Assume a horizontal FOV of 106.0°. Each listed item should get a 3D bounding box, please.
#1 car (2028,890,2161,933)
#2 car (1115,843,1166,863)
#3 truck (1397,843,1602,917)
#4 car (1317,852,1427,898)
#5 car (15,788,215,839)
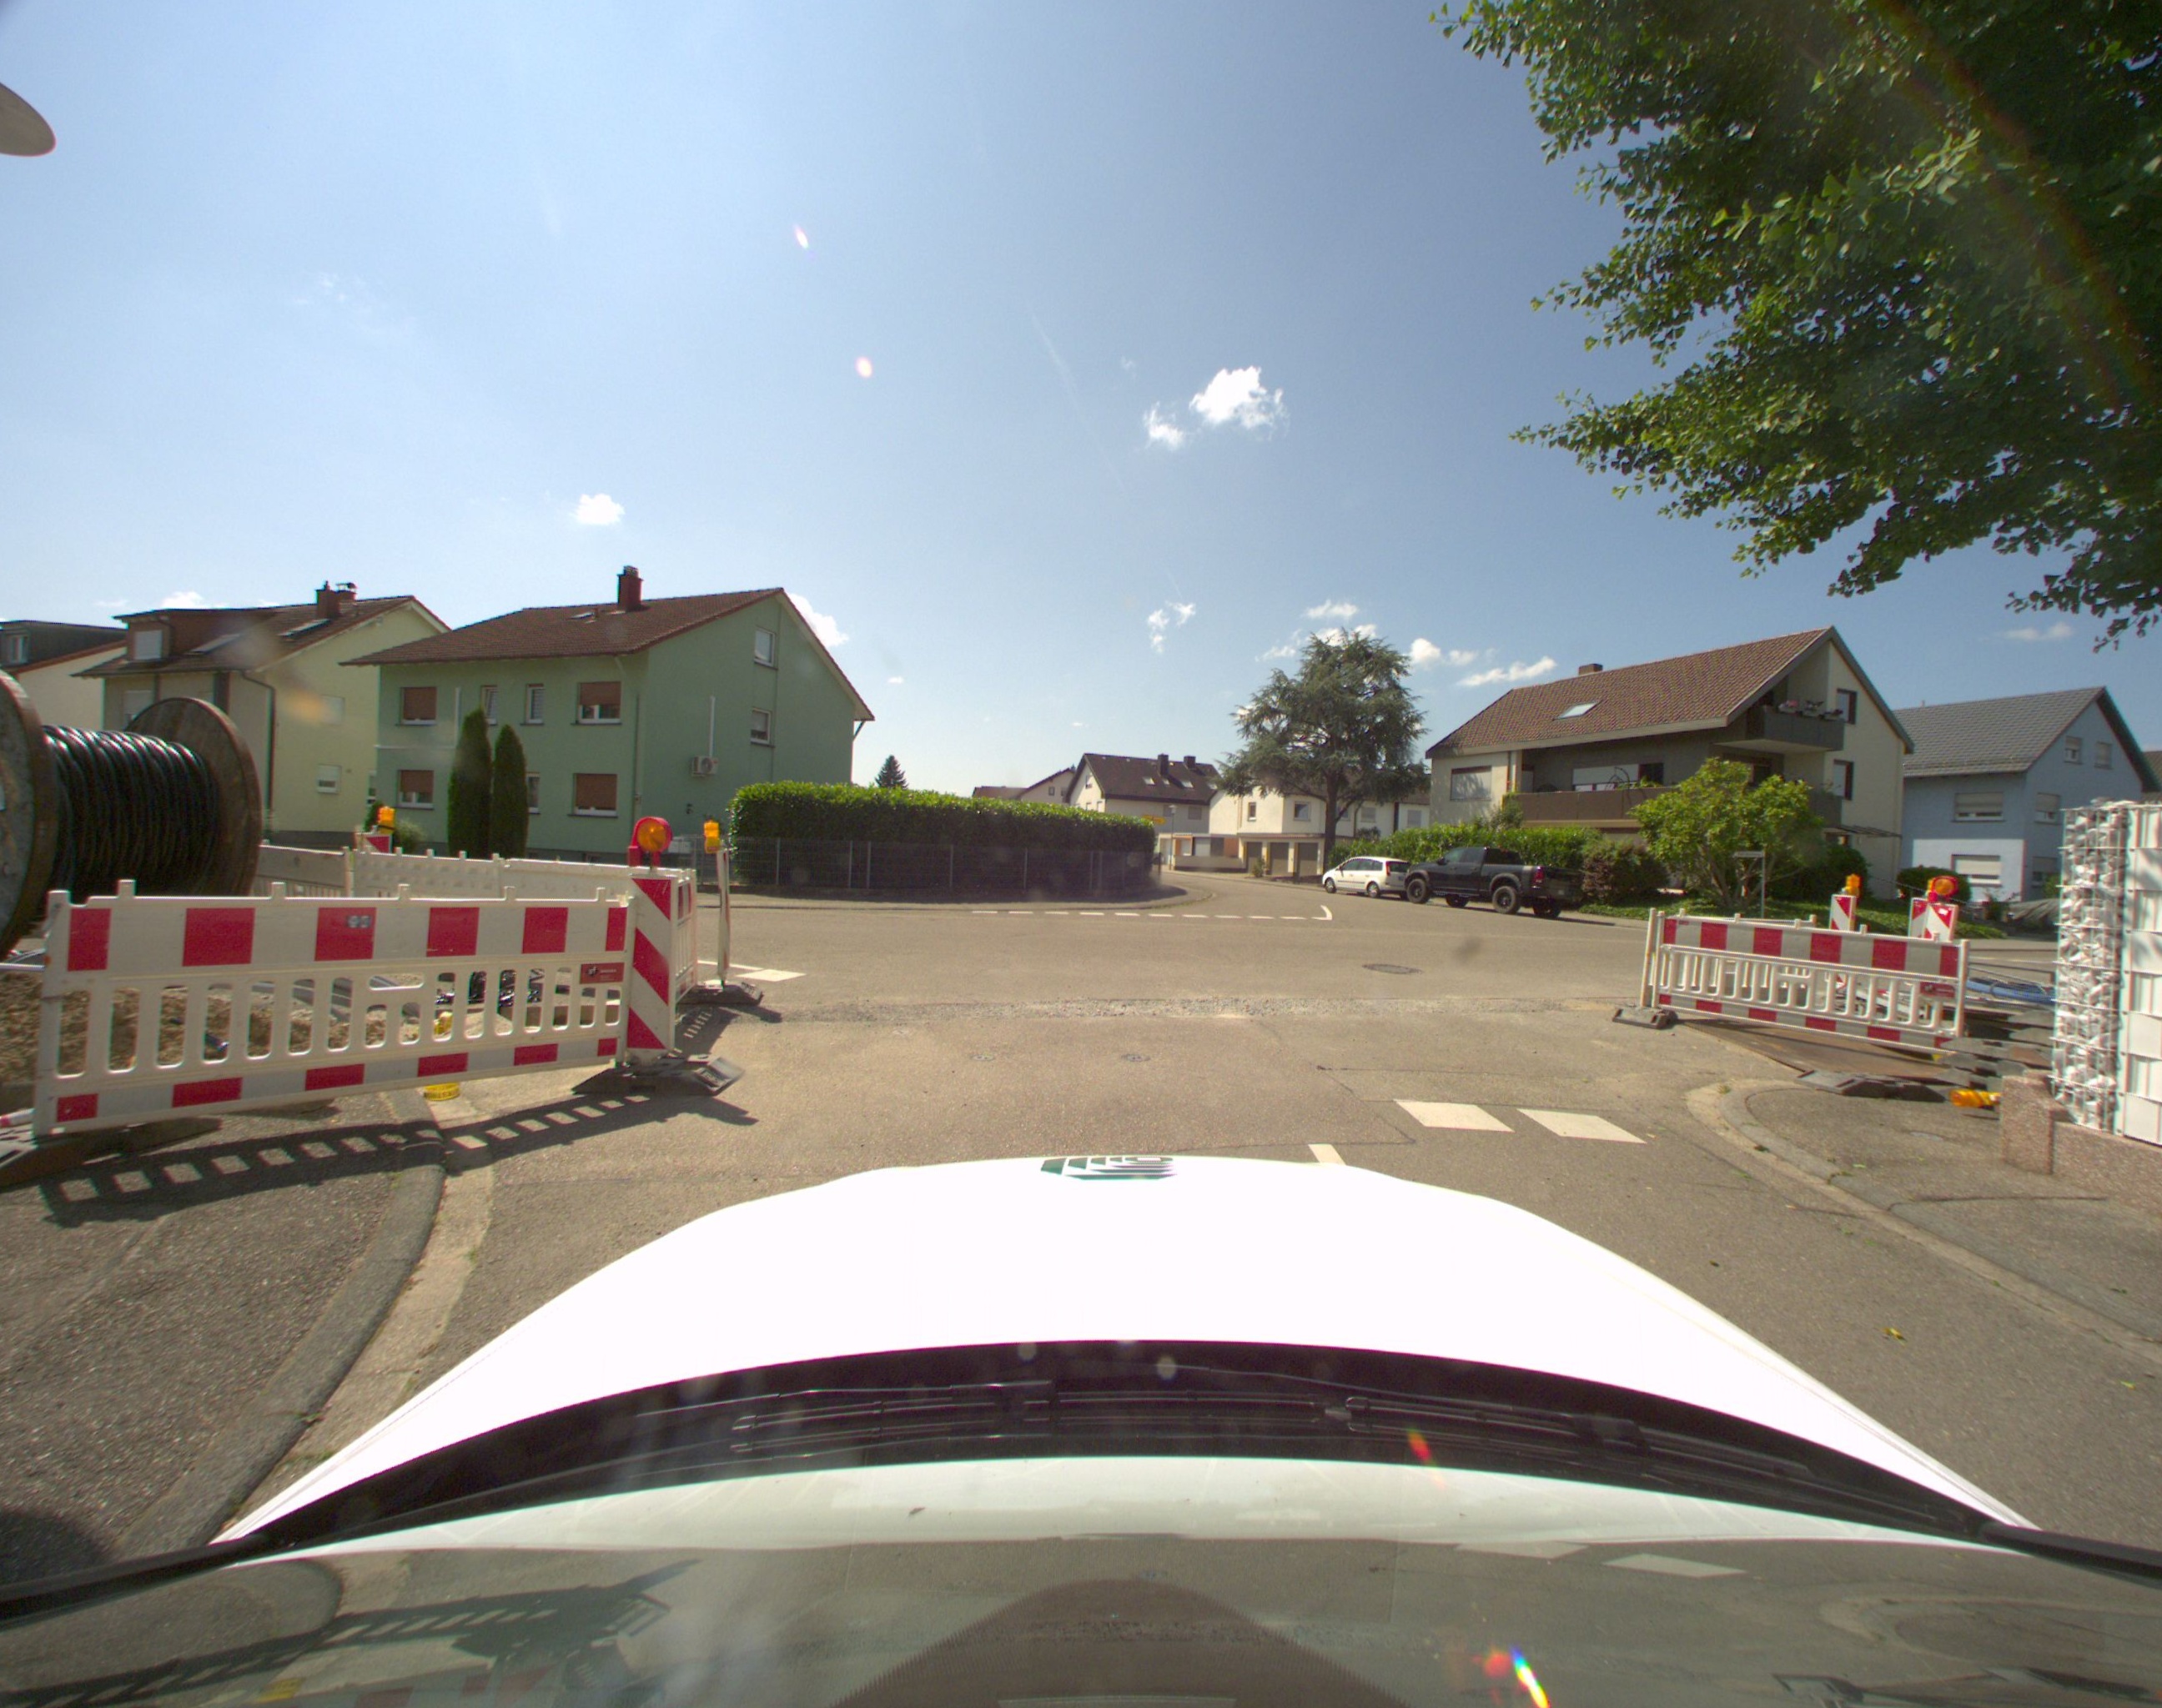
[{"bbox_3d":[40.828,2.268,32.196,2.001,1.342,3.972,2,1,-21],"label":"car"},{"bbox_3d":[4.779,-0.068,65.470,3.611,1.408,1.772,2,1,-20],"label":"car"},{"bbox_3d":[13.262,0.739,26.333,2.373,2.013,5.671,2,1,-23],"label":"truck"},{"bbox_3d":[11.505,0.800,32.455,1.804,1.563,4.114,2,1,-22],"label":"car"},{"bbox_3d":[-32.280,-1.308,27.382,1.753,1.509,3.947,3,2,20],"label":"car"}]
